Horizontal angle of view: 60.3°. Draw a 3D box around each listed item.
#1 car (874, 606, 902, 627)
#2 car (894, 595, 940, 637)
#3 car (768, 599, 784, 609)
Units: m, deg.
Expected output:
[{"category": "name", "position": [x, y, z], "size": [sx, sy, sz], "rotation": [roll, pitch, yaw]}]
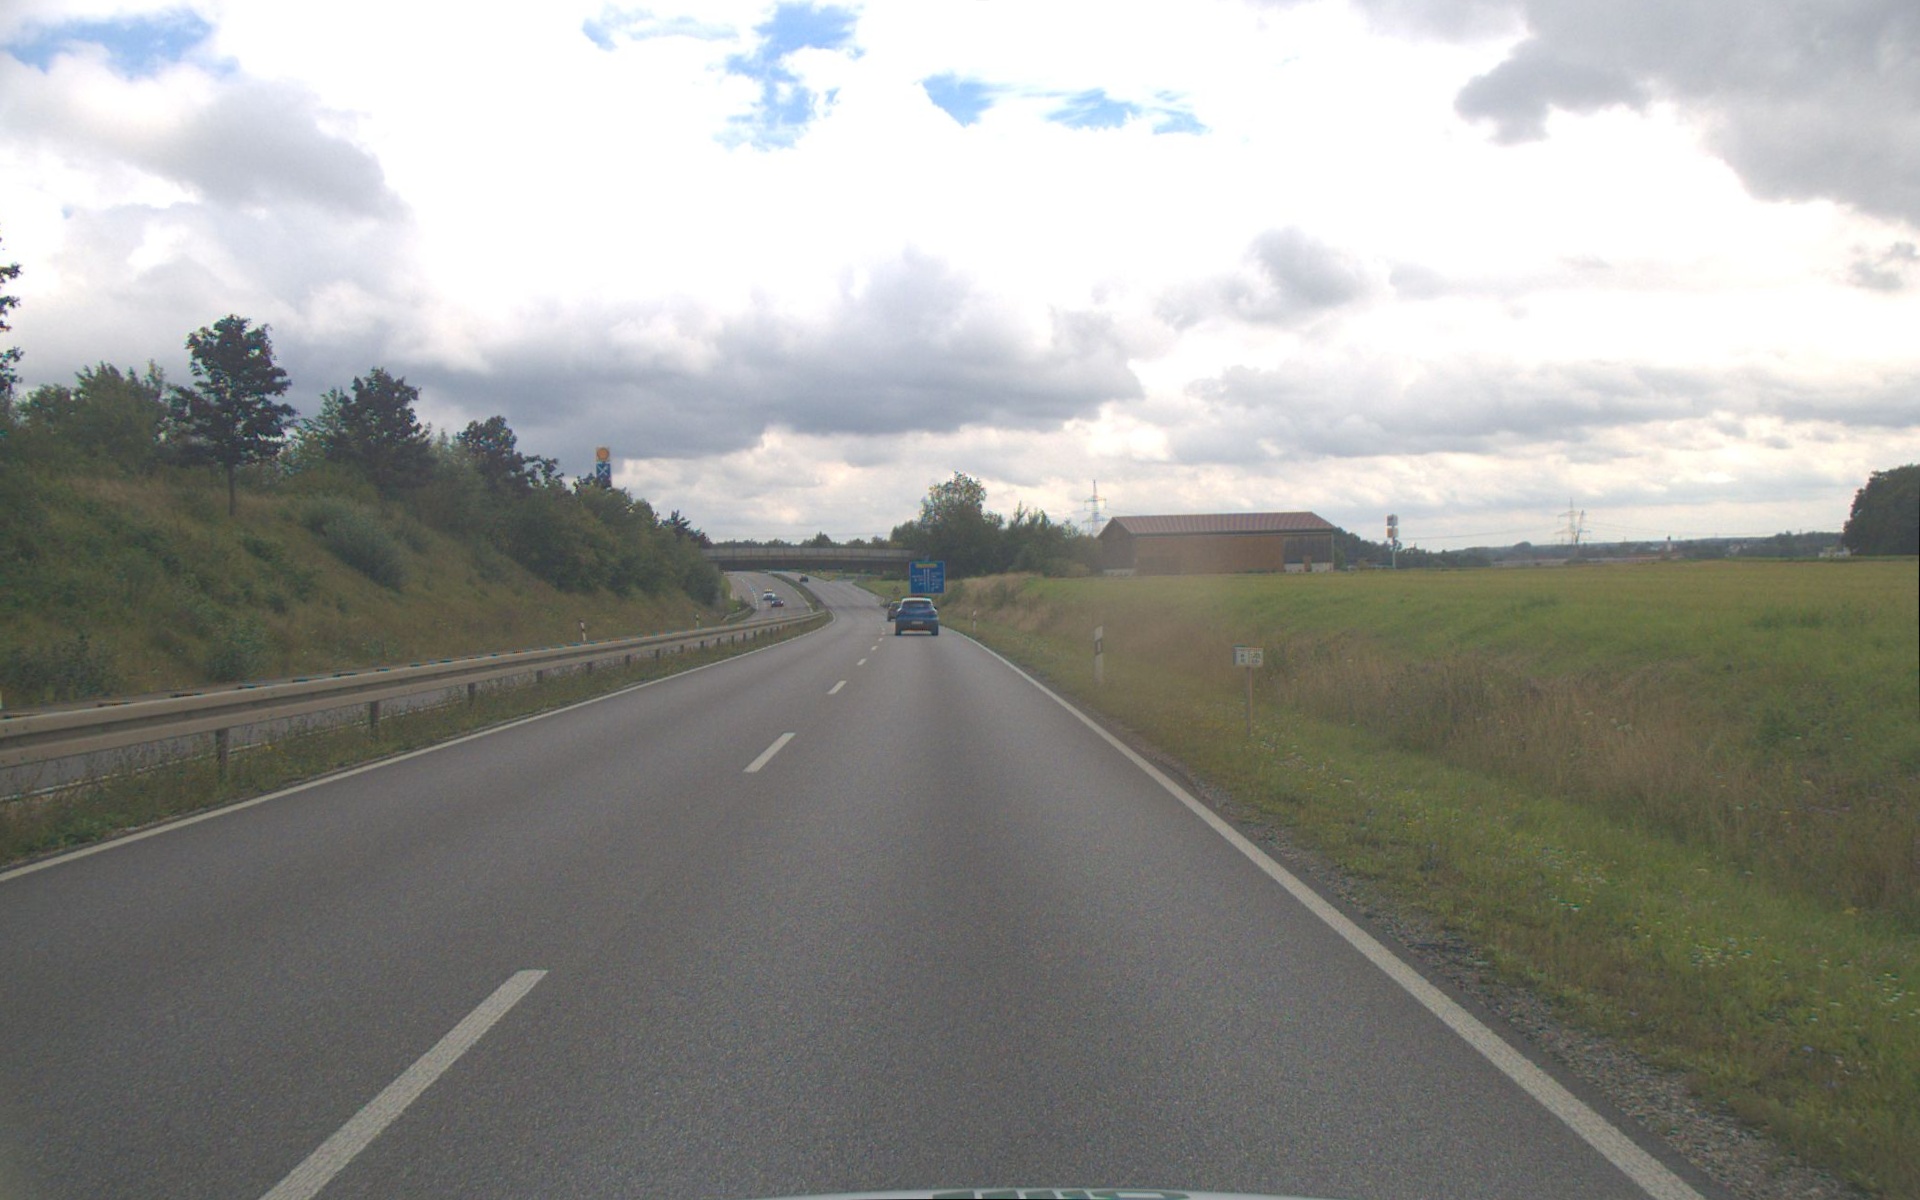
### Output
[{"category": "car", "position": [-5.658, 1.283, 129.565], "size": [1.880, 1.478, 4.359], "rotation": [-2, 1, -5]}, {"category": "car", "position": [-1.922, 0.690, 73.346], "size": [1.992, 1.689, 4.542], "rotation": [0, 1, -2]}, {"category": "car", "position": [-25.678, 0.519, 231.380], "size": [1.954, 1.327, 4.819], "rotation": [-2, 0, -3]}]
